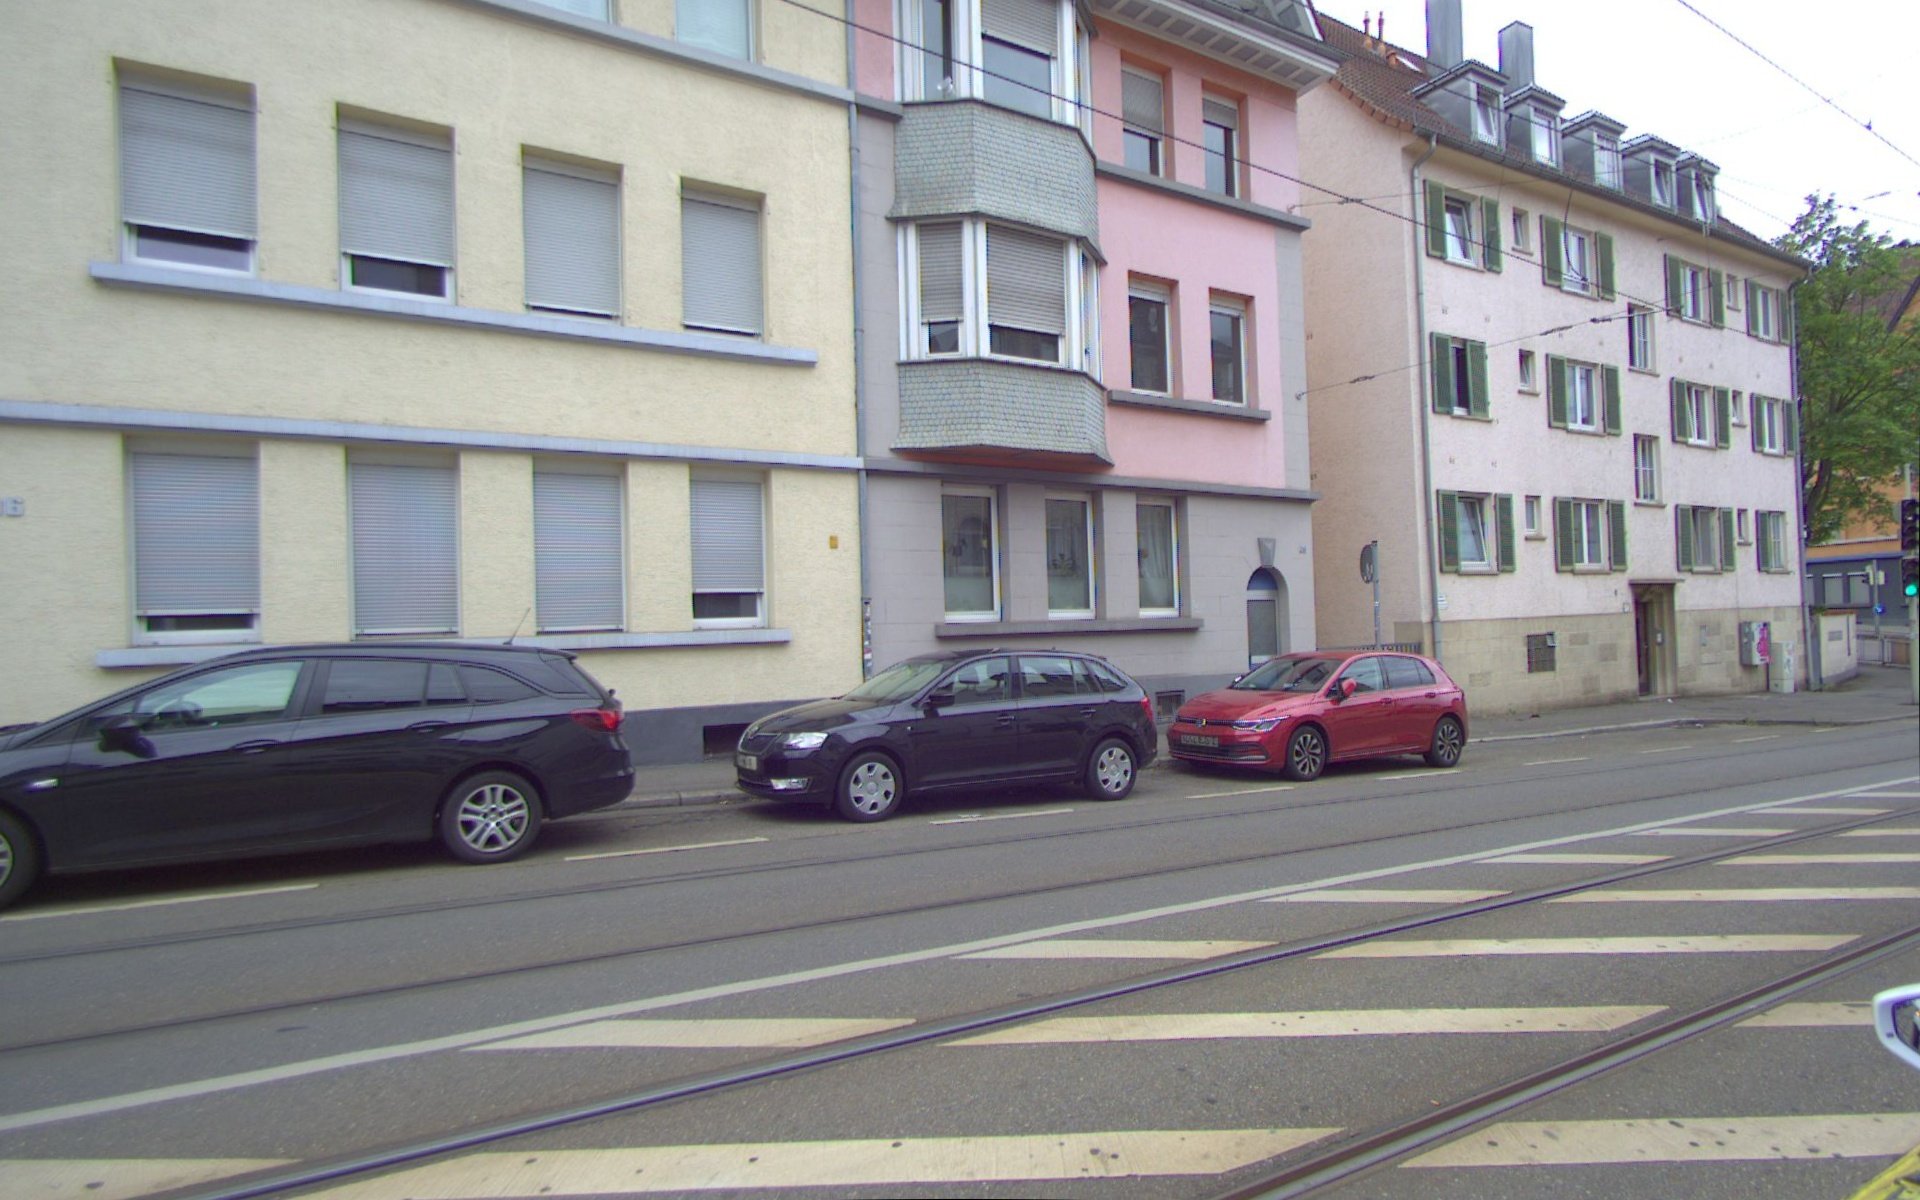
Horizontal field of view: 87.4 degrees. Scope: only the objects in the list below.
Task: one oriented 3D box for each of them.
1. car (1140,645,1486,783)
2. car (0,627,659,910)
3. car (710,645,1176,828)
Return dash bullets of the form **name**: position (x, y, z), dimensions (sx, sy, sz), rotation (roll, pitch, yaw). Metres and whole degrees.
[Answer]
- **car**: position (4.455, 1.315, 12.540), dimensions (4.211, 1.457, 1.777), rotation (2, -4, -30)
- **car**: position (-4.540, 0.992, 6.870), dimensions (4.473, 1.530, 1.777), rotation (2, -4, -30)
- **car**: position (-0.101, 1.171, 9.712), dimensions (4.192, 1.429, 1.777), rotation (2, -4, -30)
